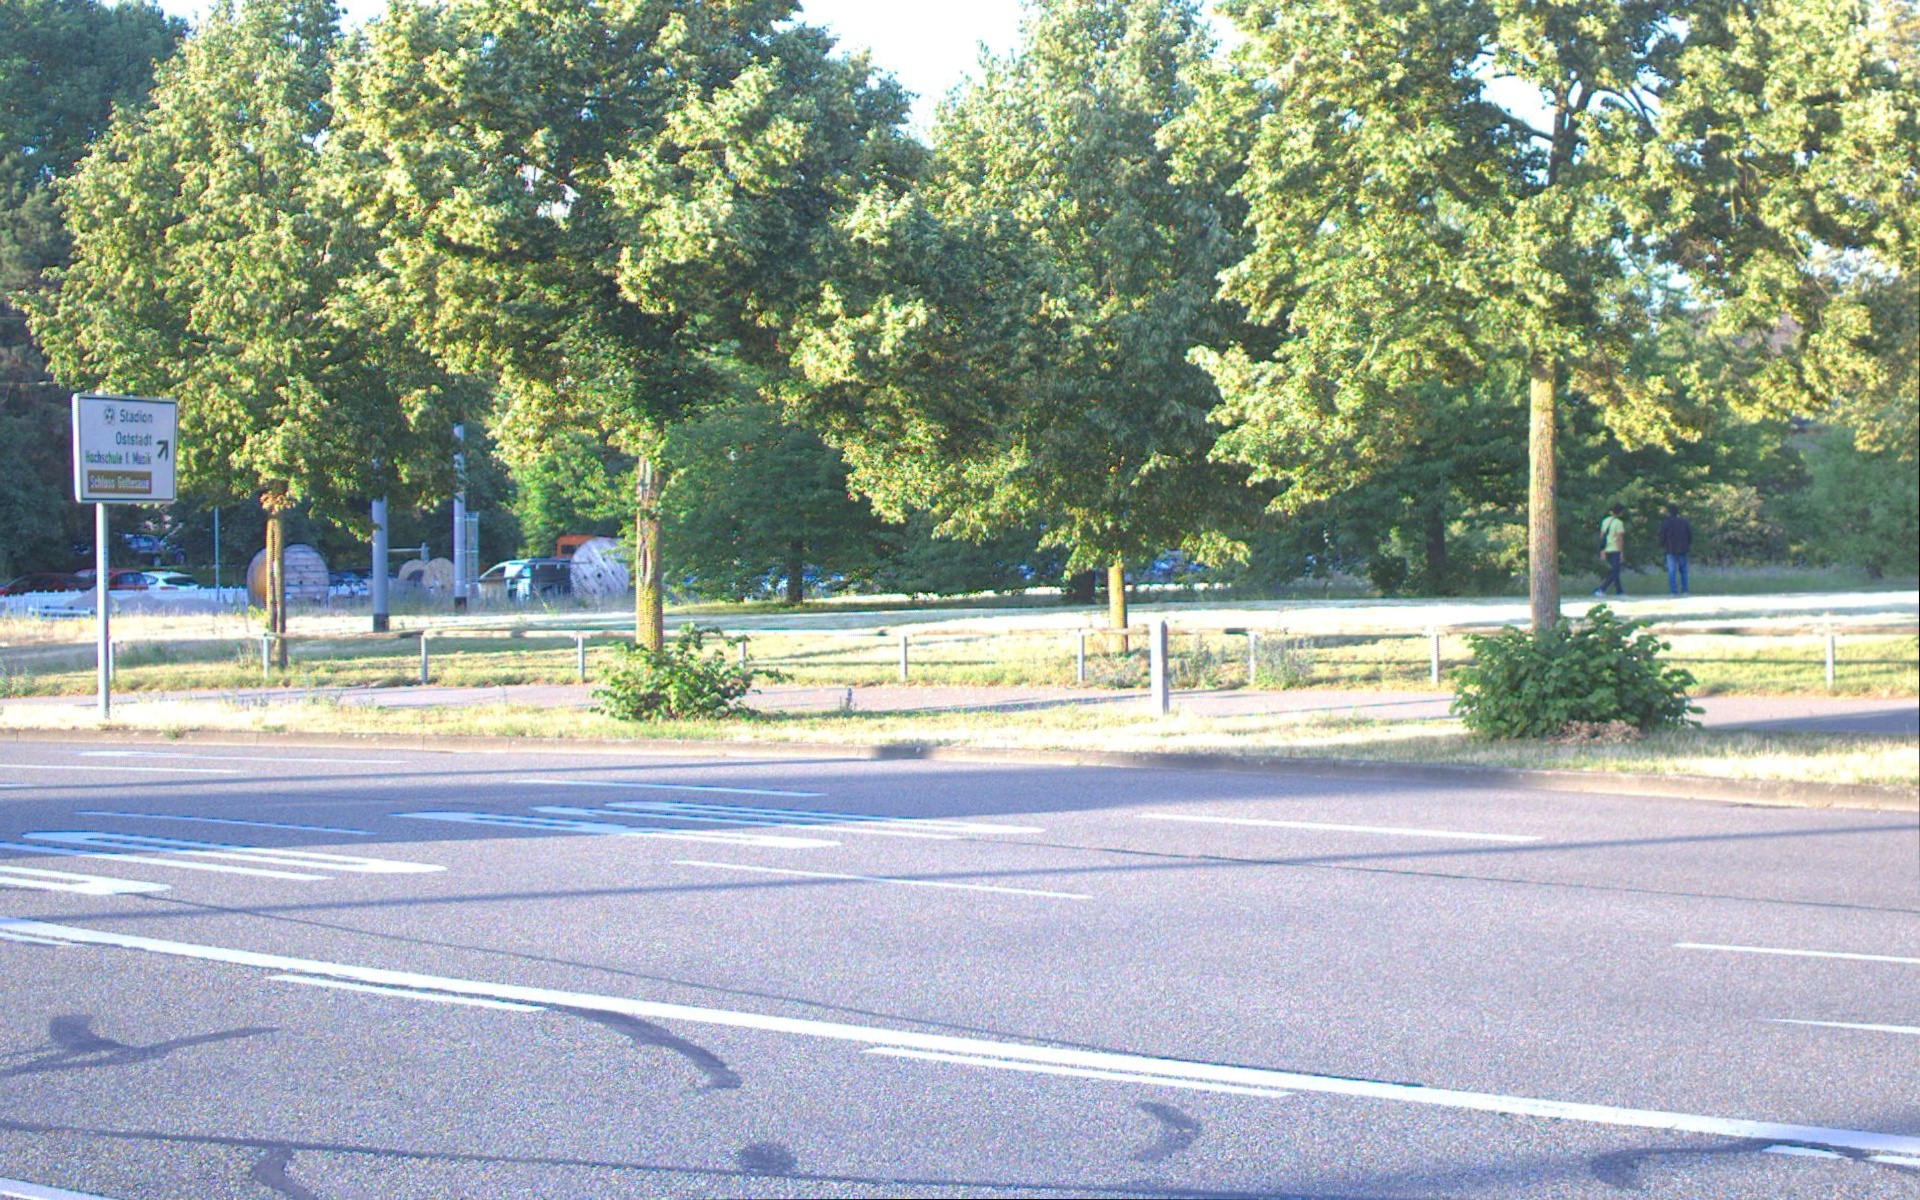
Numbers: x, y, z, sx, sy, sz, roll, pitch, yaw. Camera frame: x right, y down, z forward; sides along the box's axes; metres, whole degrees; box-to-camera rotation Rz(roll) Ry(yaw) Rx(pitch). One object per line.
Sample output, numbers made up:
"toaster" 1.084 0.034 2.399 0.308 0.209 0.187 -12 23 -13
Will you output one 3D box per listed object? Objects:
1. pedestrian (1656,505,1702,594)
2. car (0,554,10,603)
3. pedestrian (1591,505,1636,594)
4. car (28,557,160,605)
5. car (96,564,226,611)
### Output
"pedestrian" 13.095 -0.921 62.640 0.618 1.621 0.530 -1 1 -31
"car" -32.027 -0.659 107.915 3.993 1.545 1.997 0 1 30
"pedestrian" 11.974 -0.933 62.998 0.579 1.621 0.533 -1 1 -28
"car" -28.739 -0.637 114.077 3.993 1.545 1.997 0 1 30
"car" -27.002 -0.437 116.161 3.993 1.545 1.997 0 1 30
